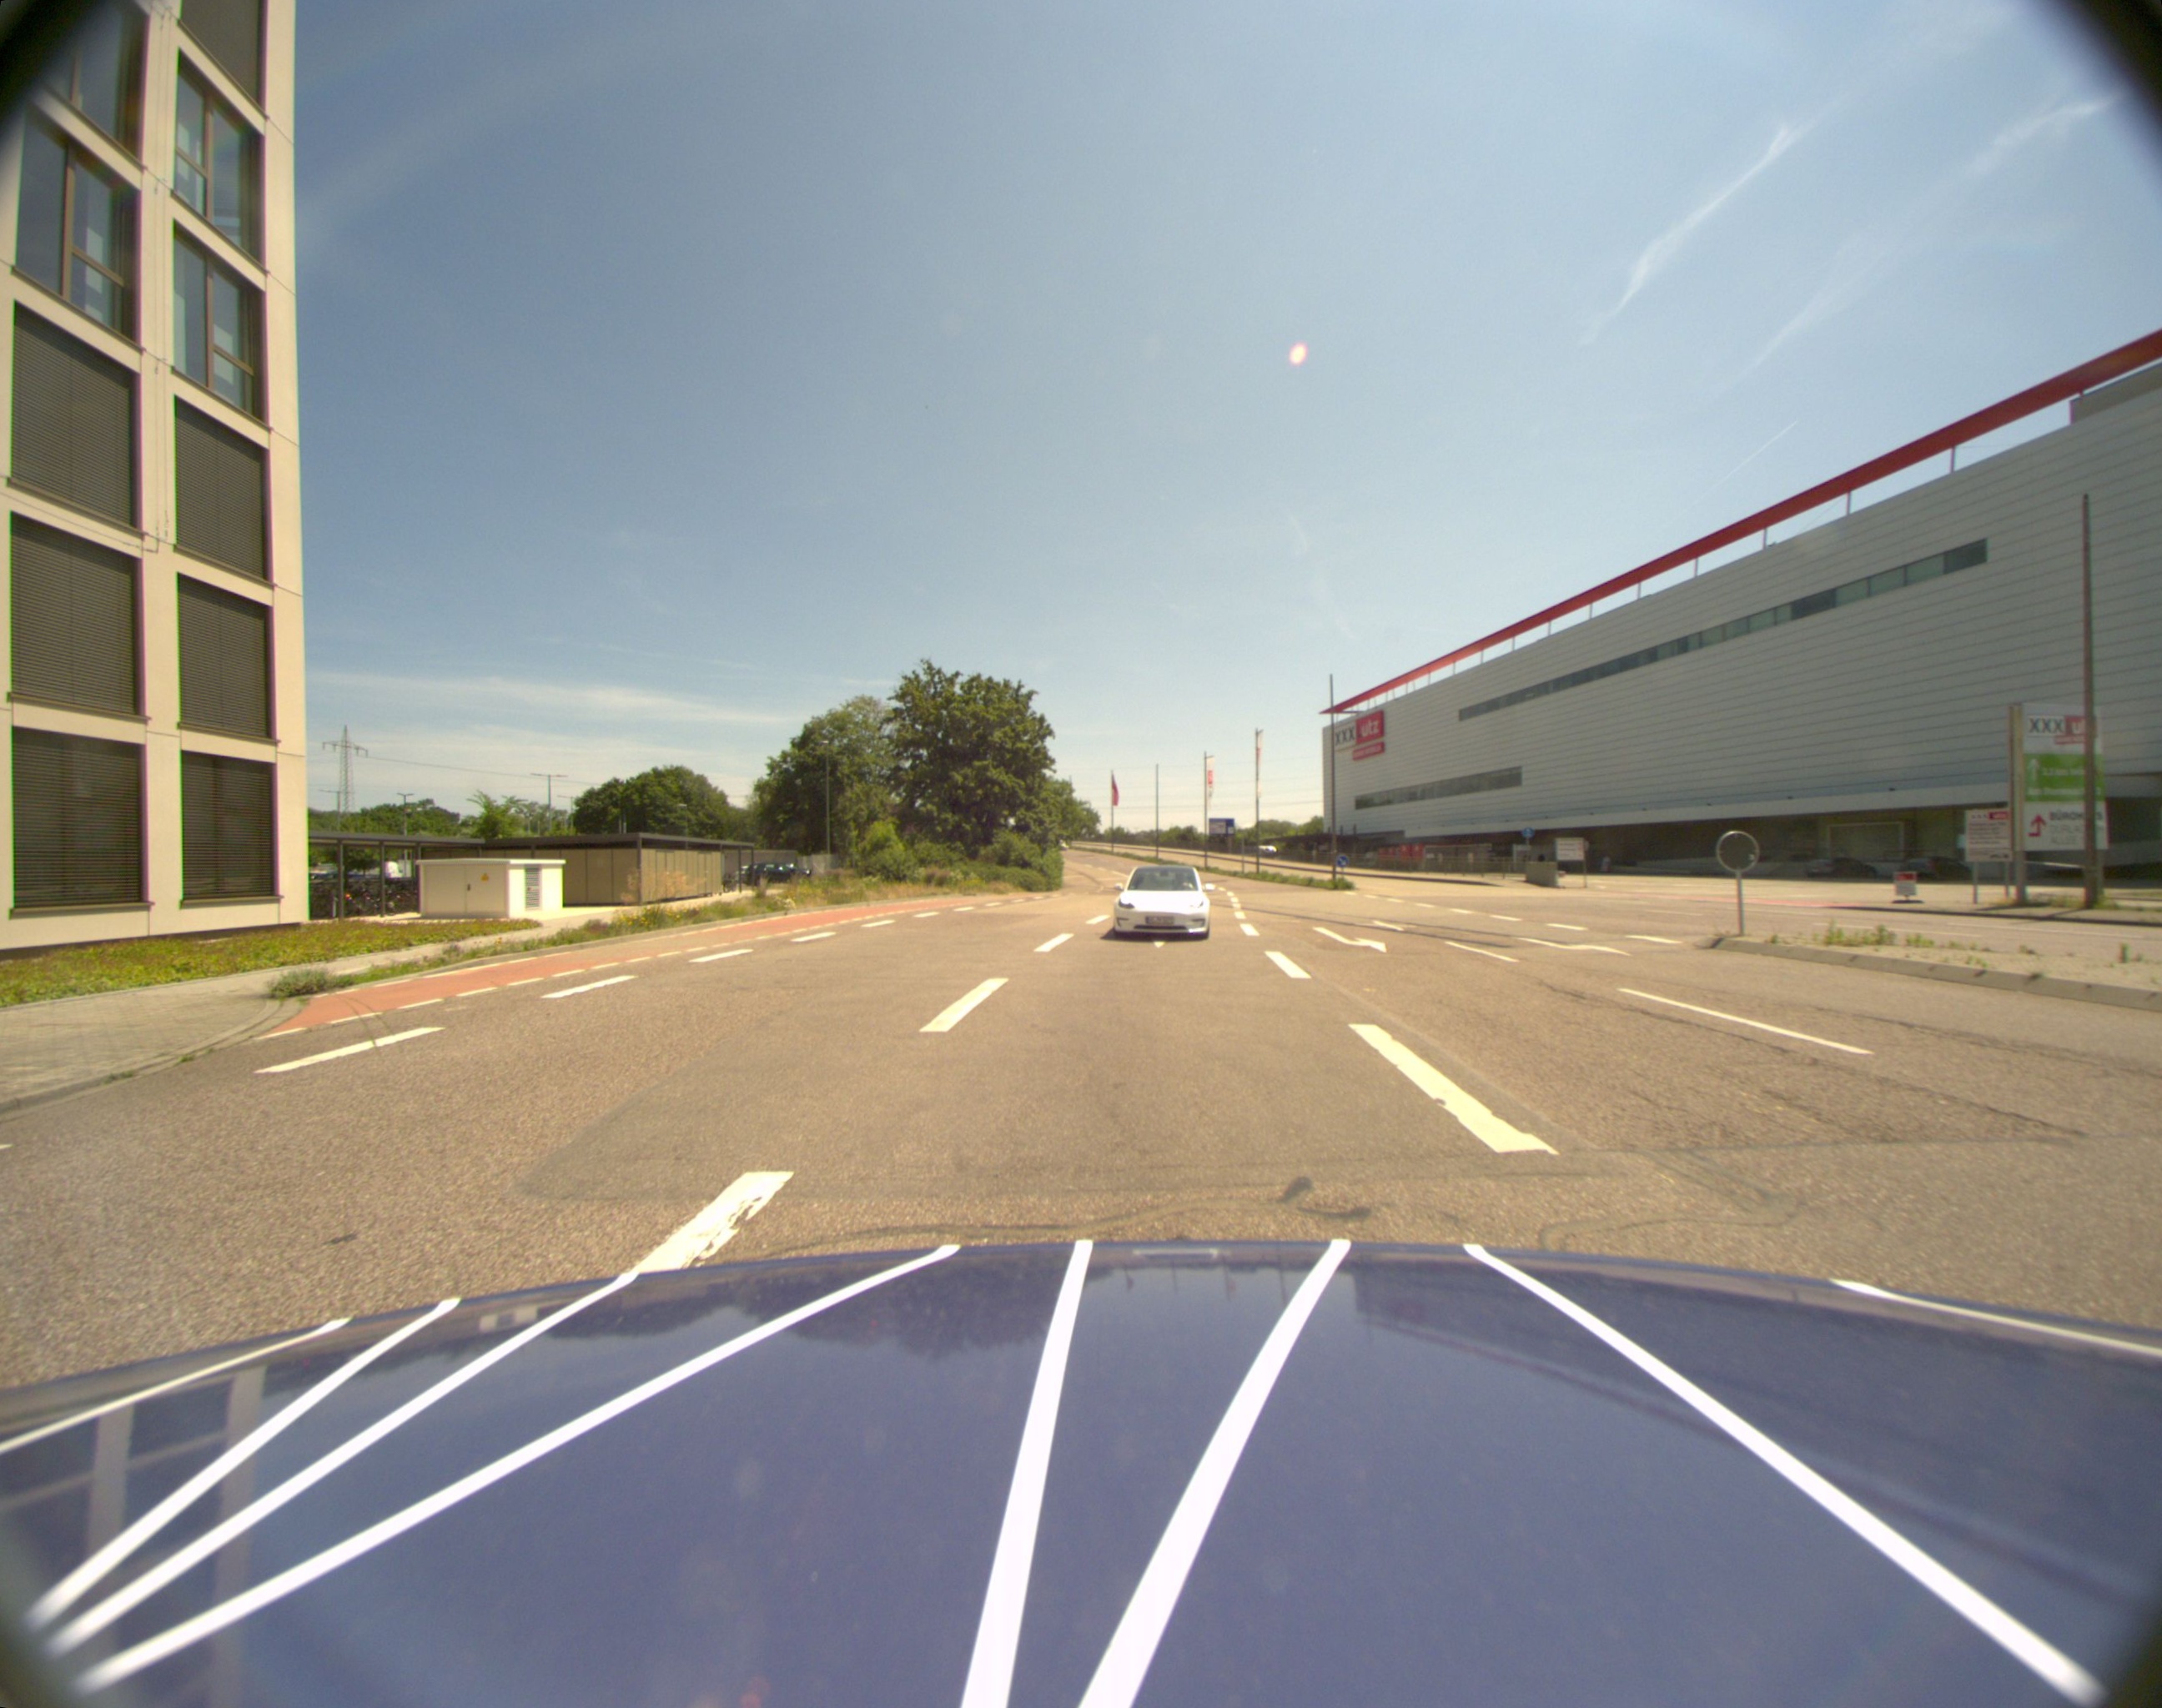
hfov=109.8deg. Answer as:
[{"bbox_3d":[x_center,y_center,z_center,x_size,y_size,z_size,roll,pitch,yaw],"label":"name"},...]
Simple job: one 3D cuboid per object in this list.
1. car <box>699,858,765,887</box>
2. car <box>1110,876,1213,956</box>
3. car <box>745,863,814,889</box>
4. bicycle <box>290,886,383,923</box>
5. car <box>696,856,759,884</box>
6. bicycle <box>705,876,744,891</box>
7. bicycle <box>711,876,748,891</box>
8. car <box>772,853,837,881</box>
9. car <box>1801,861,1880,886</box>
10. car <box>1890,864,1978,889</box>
[{"bbox_3d":[-25.148,1.279,54.779,4.007,2.002,1.995,0,0,-34],"label":"car"},{"bbox_3d":[1.601,1.217,16.264,1.879,1.416,4.408,0,-1,3],"label":"car"},{"bbox_3d":[-19.984,1.422,50.430,4.007,1.652,1.834,0,0,-32],"label":"car"},{"bbox_3d":[-22.155,1.491,22.634,1.840,0.996,0.734,0,0,-15],"label":"bicycle"},{"bbox_3d":[-26.554,1.171,57.147,4.007,2.002,1.995,0,0,-34],"label":"car"},{"bbox_3d":[-20.392,1.691,43.494,1.884,0.858,0.589,0,0,-10],"label":"bicycle"},{"bbox_3d":[-20.538,1.704,44.395,1.865,0.858,0.583,0,0,-10],"label":"bicycle"},{"bbox_3d":[-19.821,0.900,54.530,4.007,1.941,1.995,0,0,-34],"label":"car"},{"bbox_3d":[51.399,1.308,51.440,3.749,1.610,1.910,0,0,-9],"label":"car"},{"bbox_3d":[52.175,1.365,46.521,3.485,1.486,1.958,0,0,-7],"label":"car"}]
